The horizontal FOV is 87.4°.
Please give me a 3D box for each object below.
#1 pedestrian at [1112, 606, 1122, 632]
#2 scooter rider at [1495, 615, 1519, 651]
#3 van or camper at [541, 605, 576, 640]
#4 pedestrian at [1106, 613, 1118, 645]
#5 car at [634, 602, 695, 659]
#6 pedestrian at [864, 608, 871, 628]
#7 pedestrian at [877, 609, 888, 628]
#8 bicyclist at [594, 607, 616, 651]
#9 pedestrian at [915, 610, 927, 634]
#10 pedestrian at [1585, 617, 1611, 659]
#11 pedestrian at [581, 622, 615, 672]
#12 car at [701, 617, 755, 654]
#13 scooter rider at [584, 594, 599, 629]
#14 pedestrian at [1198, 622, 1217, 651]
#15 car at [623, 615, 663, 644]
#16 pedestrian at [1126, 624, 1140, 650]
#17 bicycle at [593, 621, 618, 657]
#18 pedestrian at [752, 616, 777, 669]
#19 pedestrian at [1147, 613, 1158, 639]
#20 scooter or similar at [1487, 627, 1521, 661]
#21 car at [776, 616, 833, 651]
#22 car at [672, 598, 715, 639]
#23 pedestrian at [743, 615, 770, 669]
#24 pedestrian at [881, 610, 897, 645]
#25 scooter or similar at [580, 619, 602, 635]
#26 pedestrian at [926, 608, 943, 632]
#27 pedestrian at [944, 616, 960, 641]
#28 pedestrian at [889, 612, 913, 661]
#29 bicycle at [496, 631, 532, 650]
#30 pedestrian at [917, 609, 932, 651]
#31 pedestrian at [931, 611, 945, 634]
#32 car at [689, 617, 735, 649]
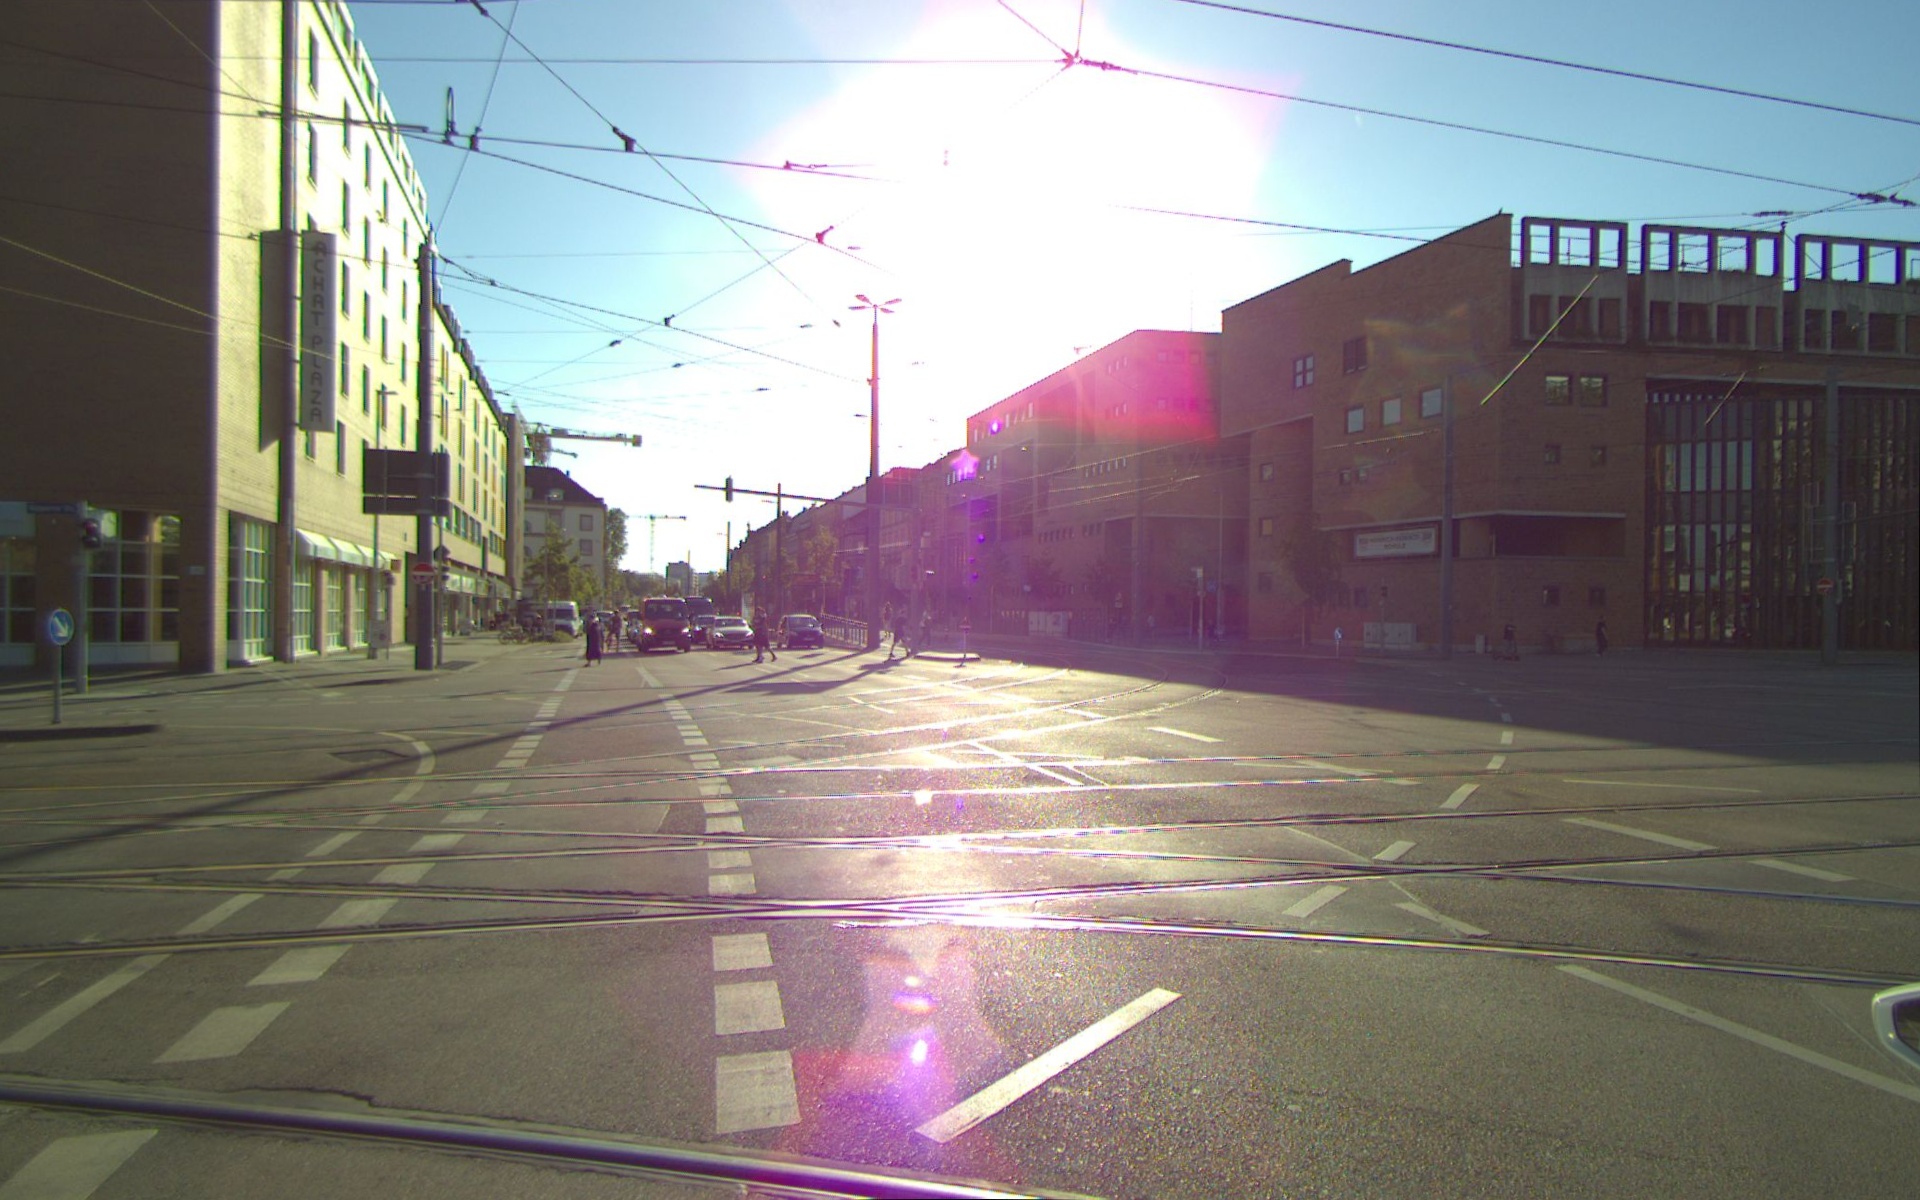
[{"bbox_3d":[10.999,1.327,70.166,0.530,1.779,0.462,0,-1,-22],"label":"pedestrian"},{"bbox_3d":[22.454,1.358,41.258,0.501,1.480,0.717,0,-1,-28],"label":"scooter rider"},{"bbox_3d":[-27.964,1.545,70.106,1.969,2.199,5.591,0,1,-19],"label":"van or camper"},{"bbox_3d":[7.438,1.409,49.199,0.481,1.559,0.551,0,-1,-6],"label":"pedestrian"},{"bbox_3d":[-12.912,1.288,43.622,2.055,2.319,5.237,0,-1,-22],"label":"car"},{"bbox_3d":[-8.182,1.584,88.829,0.499,1.755,0.648,0,-1,-21],"label":"pedestrian"},{"bbox_3d":[-6.555,1.540,85.220,0.665,1.582,0.902,0,-1,-21],"label":"pedestrian"},{"bbox_3d":[-14.686,1.203,41.563,0.805,1.810,0.812,0,-1,-21],"label":"bicyclist"},{"bbox_3d":[-2.728,1.543,70.026,0.650,1.694,0.668,0,-1,-25],"label":"pedestrian"},{"bbox_3d":[26.778,1.597,42.165,0.808,1.739,0.664,0,-1,22],"label":"pedestrian"},{"bbox_3d":[-11.495,1.478,31.896,0.538,1.574,0.864,0,-1,43],"label":"pedestrian"},{"bbox_3d":[-10.763,1.615,46.445,1.865,1.553,3.979,0,0,-22],"label":"car"},{"bbox_3d":[-18.722,0.567,51.080,0.523,1.778,0.571,0,-1,3],"label":"scooter rider"},{"bbox_3d":[13.308,1.965,53.932,0.703,1.559,0.850,0,-1,-12],"label":"pedestrian"},{"bbox_3d":[-18.200,1.659,57.636,1.865,1.553,3.979,0,0,-22],"label":"car"},{"bbox_3d":[11.847,2.539,68.721,0.730,1.779,0.686,1,-1,-44],"label":"pedestrian"},{"bbox_3d":[-14.651,1.592,41.539,0.919,1.461,2.093,0,-1,-21],"label":"bicycle"},{"bbox_3d":[-6.543,1.413,33.647,0.628,1.740,0.778,0,-1,8],"label":"pedestrian"},{"bbox_3d":[13.364,1.800,69.620,0.528,1.779,0.694,0,-1,-10],"label":"pedestrian"},{"bbox_3d":[22.392,1.800,41.338,0.522,1.335,1.124,0,-1,-28],"label":"scooter or similar"},{"bbox_3d":[-7.209,1.497,46.324,1.737,1.467,3.979,0,0,-22],"label":"car"},{"bbox_3d":[-16.301,1.109,61.375,2.022,2.389,4.896,0,-1,-21],"label":"car"},{"bbox_3d":[-6.650,1.374,32.798,0.628,1.740,0.778,0,-1,8],"label":"pedestrian"},{"bbox_3d":[-3.452,1.335,48.904,0.668,1.706,0.574,0,-1,-16],"label":"pedestrian"},{"bbox_3d":[-18.744,1.370,51.045,0.534,0.842,1.240,0,-1,5],"label":"scooter or similar"},{"bbox_3d":[-1.801,1.375,69.969,0.878,1.694,1.090,0,-1,-22],"label":"pedestrian"},{"bbox_3d":[-0.545,1.911,67.355,0.878,1.694,0.668,0,-1,-22],"label":"pedestrian"},{"bbox_3d":[-2.079,1.272,35.469,0.615,1.724,0.745,0,-1,-24],"label":"pedestrian"},{"bbox_3d":[-24.342,2.202,54.849,1.696,0.993,0.641,0,-1,-2],"label":"bicycle"},{"bbox_3d":[-1.489,1.240,42.158,0.629,1.740,0.778,0,-1,-4],"label":"pedestrian"},{"bbox_3d":[-1.469,1.508,67.404,0.674,1.503,0.825,1,-1,-19],"label":"pedestrian"},{"bbox_3d":[-13.300,1.740,53.736,1.865,1.553,3.979,0,0,-22],"label":"car"}]
